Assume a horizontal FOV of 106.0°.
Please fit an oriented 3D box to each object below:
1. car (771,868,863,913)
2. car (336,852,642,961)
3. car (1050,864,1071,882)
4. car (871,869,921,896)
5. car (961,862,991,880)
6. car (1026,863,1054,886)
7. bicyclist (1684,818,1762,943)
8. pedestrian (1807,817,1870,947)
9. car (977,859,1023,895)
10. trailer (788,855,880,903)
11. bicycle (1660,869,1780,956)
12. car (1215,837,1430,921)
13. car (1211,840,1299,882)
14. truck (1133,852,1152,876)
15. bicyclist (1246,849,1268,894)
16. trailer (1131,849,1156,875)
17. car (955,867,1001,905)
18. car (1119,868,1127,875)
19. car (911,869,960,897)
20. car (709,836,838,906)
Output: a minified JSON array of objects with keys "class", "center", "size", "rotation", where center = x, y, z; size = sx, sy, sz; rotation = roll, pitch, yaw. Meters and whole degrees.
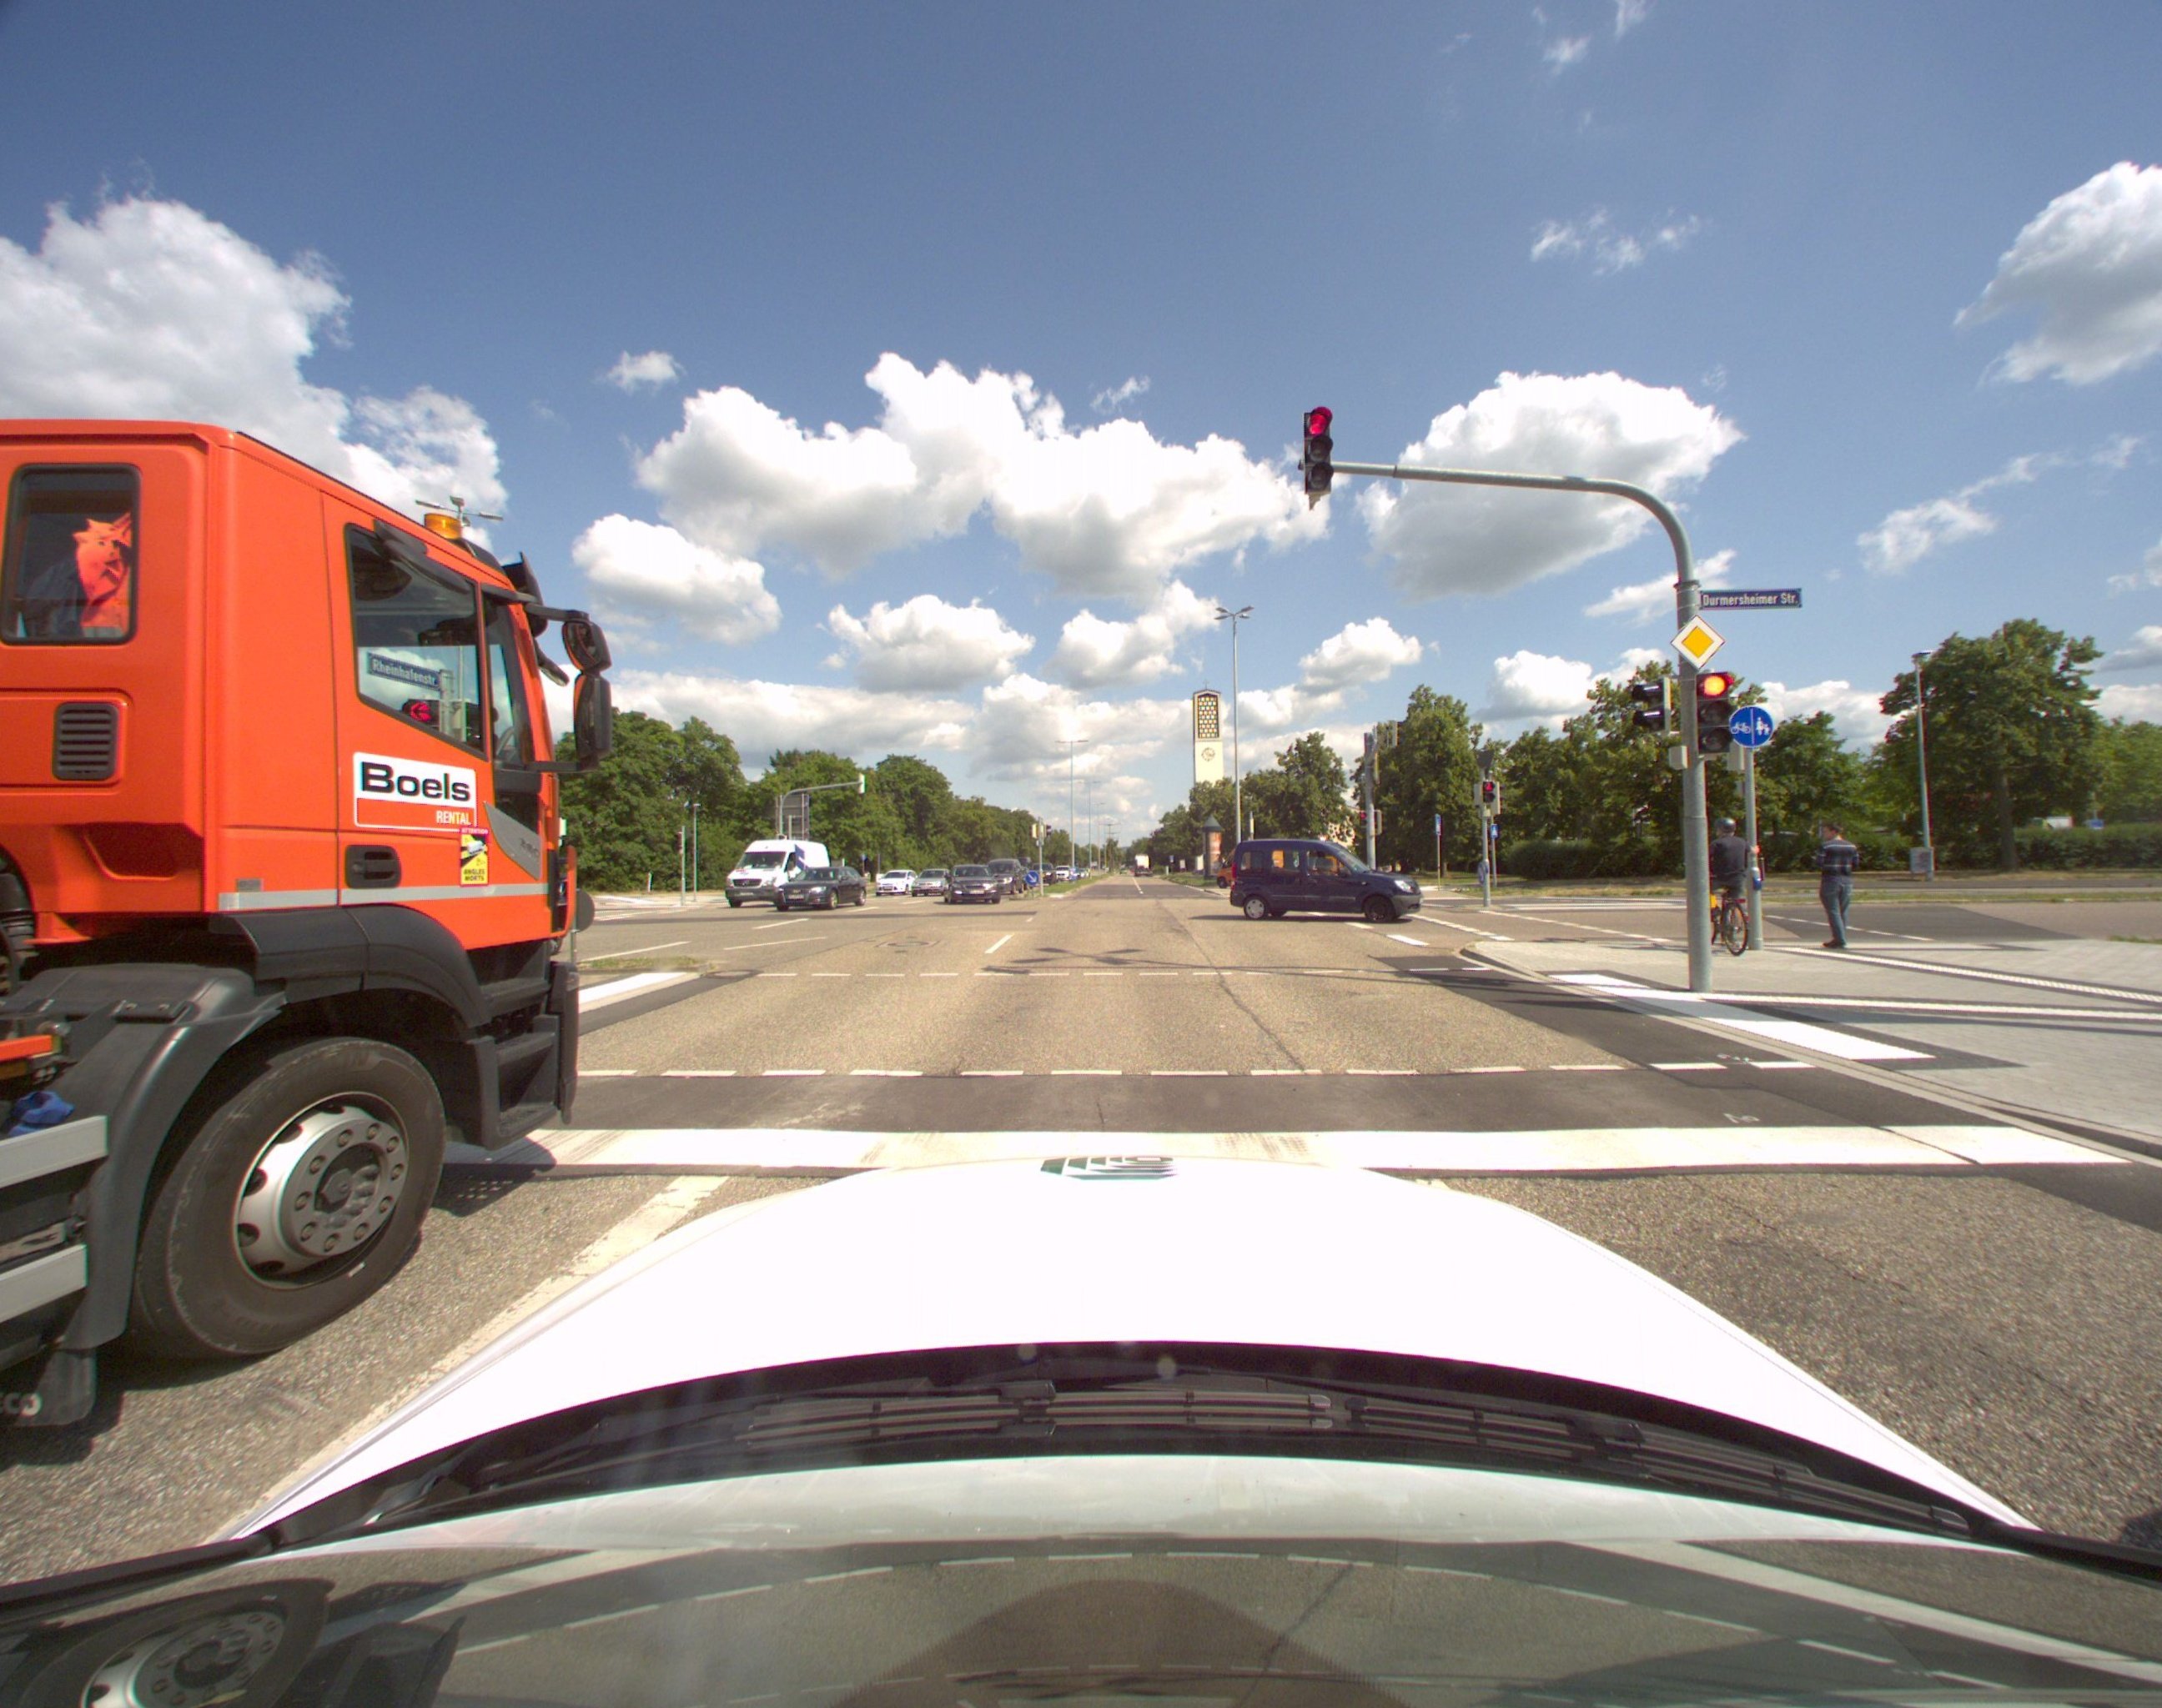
[{"class":"car","center":[-8.540,1.154,26.676],"size":[1.757,1.352,3.520],"rotation":[-1,-1,2]},{"class":"car","center":[-9.711,0.794,13.901],"size":[1.726,1.543,4.316],"rotation":[1,-1,6]},{"class":"car","center":[-2.042,1.882,80.684],"size":[1.727,1.660,4.233],"rotation":[1,-1,3]},{"class":"car","center":[-10.774,1.643,47.694],"size":[1.851,1.513,4.001],"rotation":[1,-1,2]},{"class":"car","center":[-7.241,1.181,56.460],"size":[1.542,1.217,3.491],"rotation":[1,-1,2]},{"class":"car","center":[-3.090,1.530,61.417],"size":[1.728,1.660,4.232],"rotation":[1,-1,2]},{"class":"bicyclist","center":[8.871,0.356,11.276],"size":[0.643,1.661,0.653],"rotation":[1,-1,16]},{"class":"pedestrian","center":[10.668,0.388,11.479],"size":[0.461,1.779,0.483],"rotation":[1,-1,11]},{"class":"car","center":[-4.046,1.140,41.313],"size":[1.728,1.660,4.233],"rotation":[1,0,2]},{"class":"trailer","center":[-11.204,1.126,37.403],"size":[2.114,2.014,5.169],"rotation":[1,-1,6]},{"class":"bicycle","center":[8.917,0.771,11.455],"size":[0.643,1.108,1.936],"rotation":[1,-1,16]},{"class":"car","center":[5.238,0.502,17.836],"size":[4.176,1.660,1.751],"rotation":[0,-1,32]},{"class":"car","center":[9.782,0.406,46.166],"size":[2.218,2.226,4.813],"rotation":[2,-1,-30]},{"class":"truck","center":[10.636,1.702,140.123],"size":[2.944,3.971,8.651],"rotation":[-1,-2,6]},{"class":"bicyclist","center":[7.145,0.697,33.015],"size":[0.782,1.804,0.687],"rotation":[-1,-1,6]},{"class":"trailer","center":[10.244,1.450,132.119],"size":[3.602,4.012,11.336],"rotation":[-1,-2,6]},{"class":"car","center":[-3.768,1.133,29.853],"size":[1.567,1.316,3.423],"rotation":[1,-1,-8]},{"class":"car","center":[10.585,4.383,205.757],"size":[1.986,1.552,4.001],"rotation":[1,-1,2]},{"class":"car","center":[-7.596,1.507,42.944],"size":[1.719,1.398,4.001],"rotation":[1,-1,2]},{"class":"car","center":[-11.790,0.660,31.835],"size":[2.163,2.471,5.976],"rotation":[1,-1,6]}]
